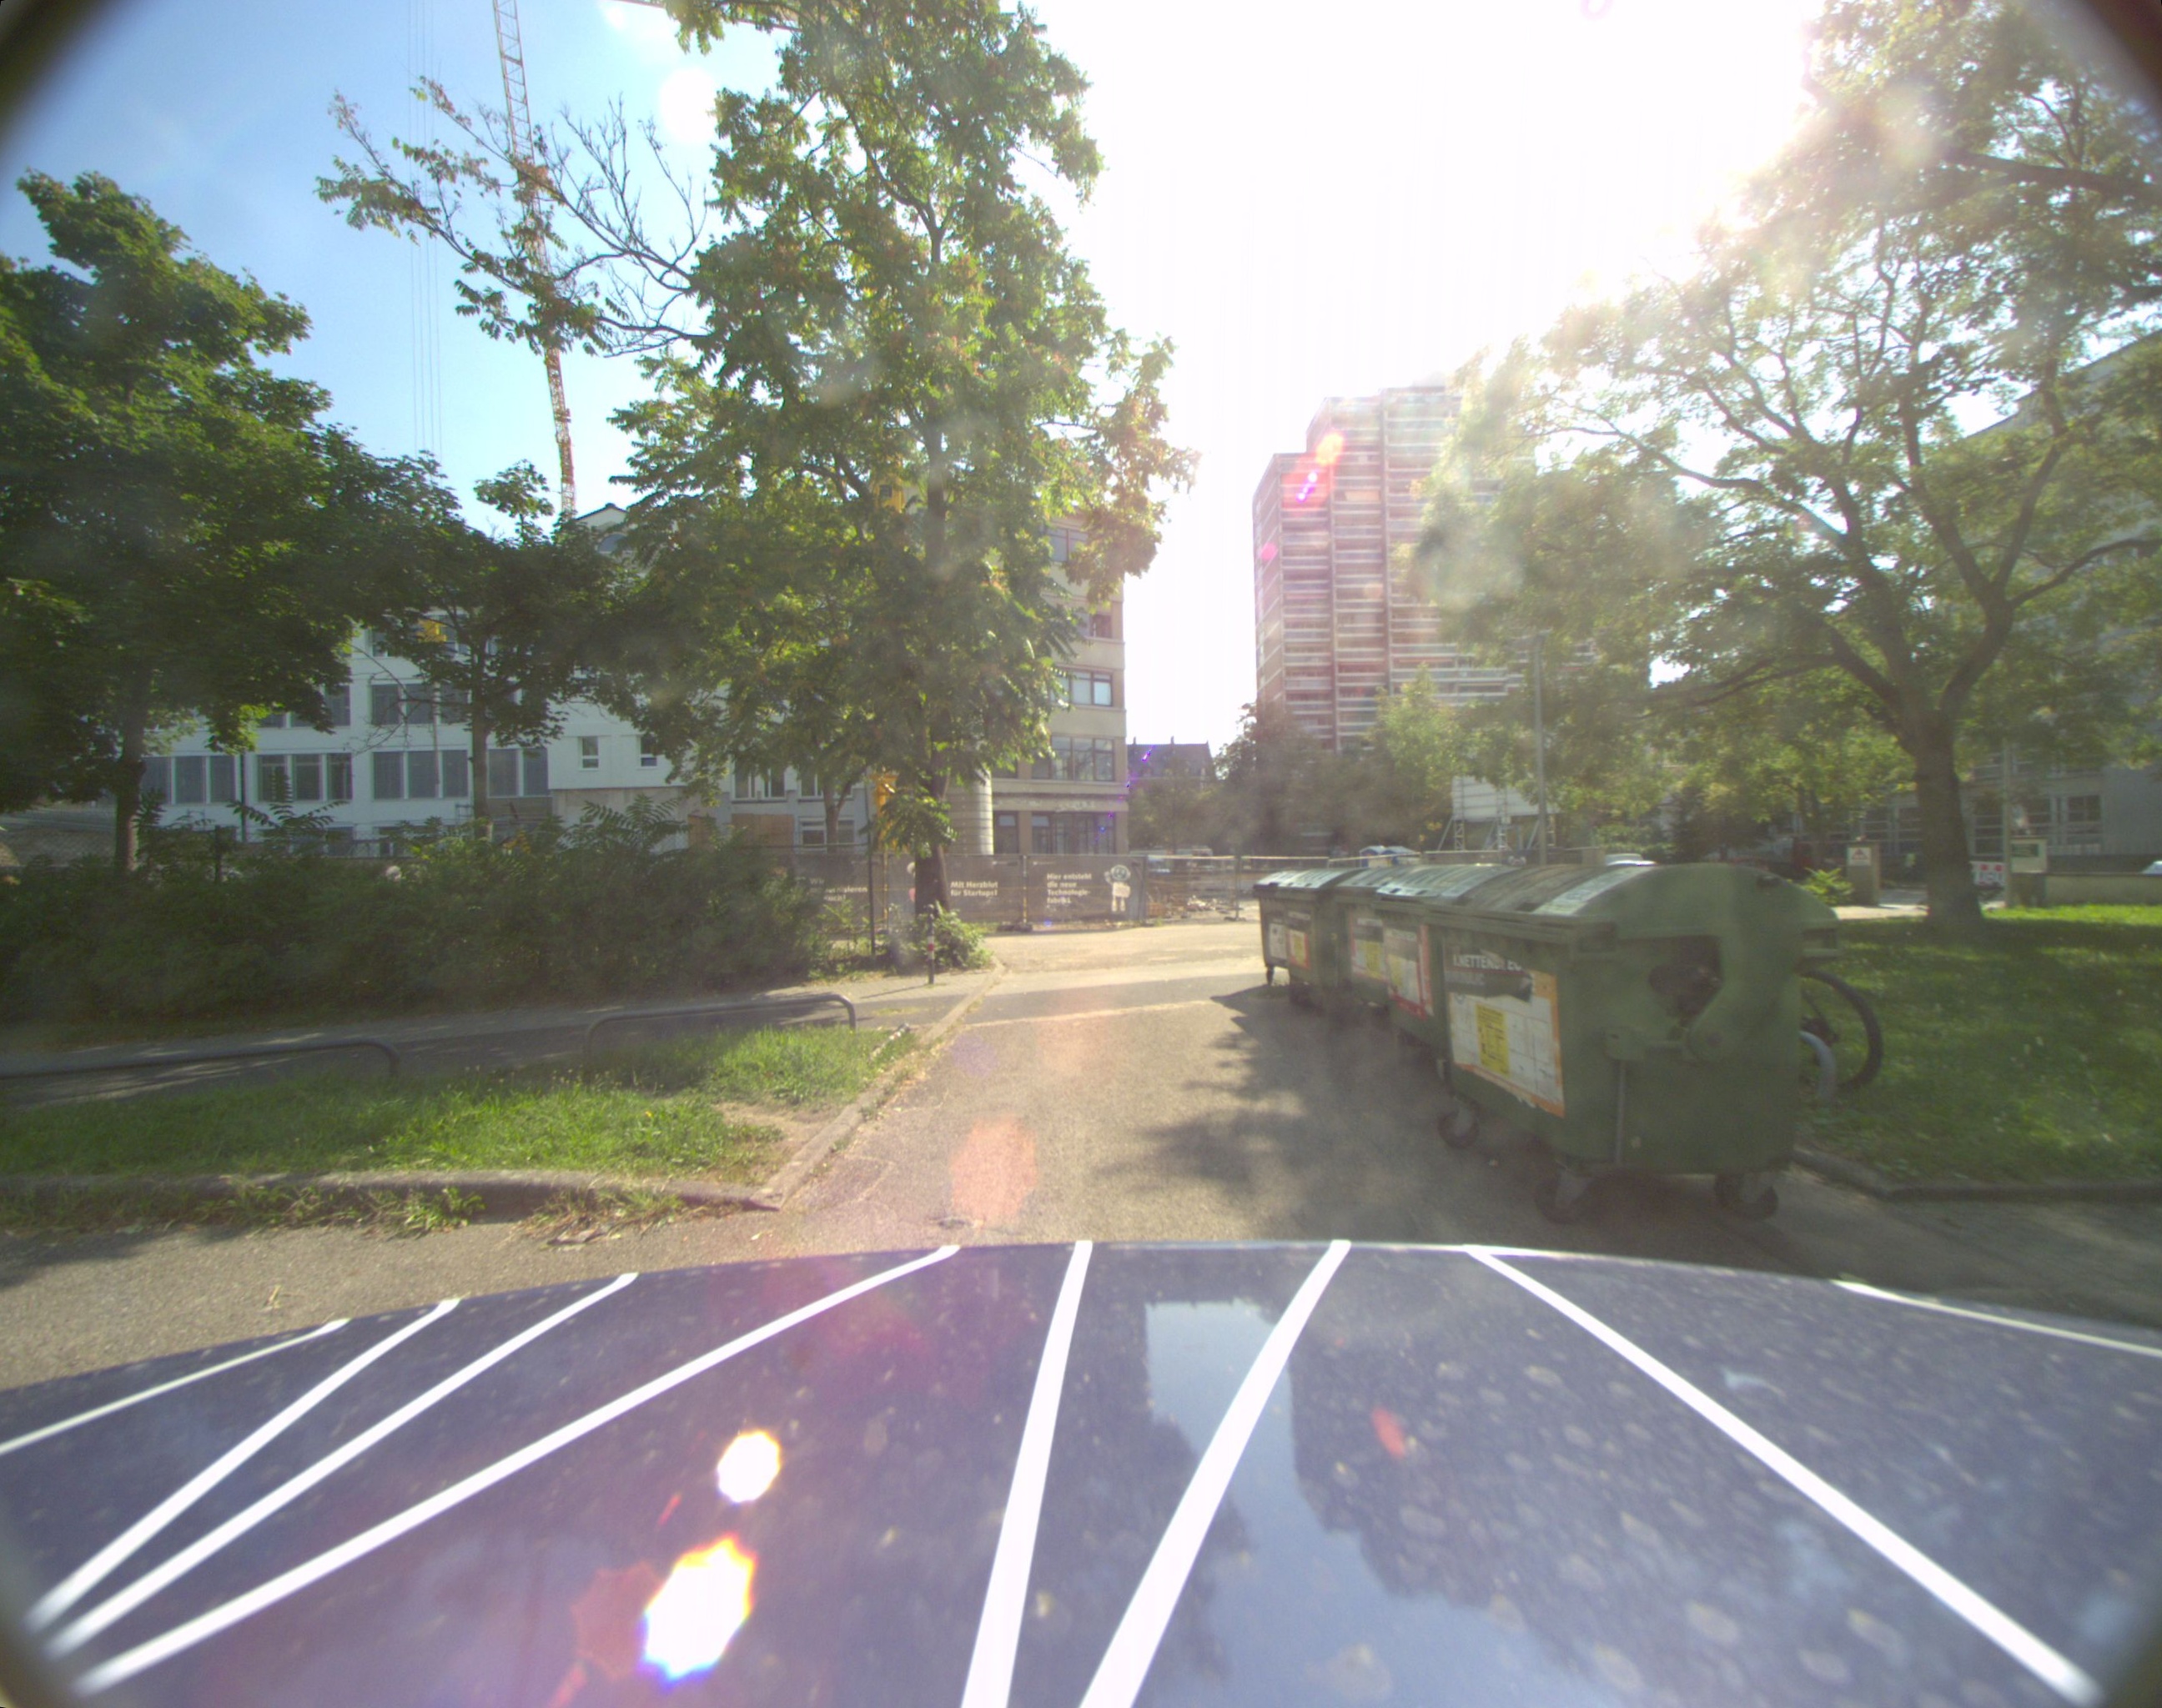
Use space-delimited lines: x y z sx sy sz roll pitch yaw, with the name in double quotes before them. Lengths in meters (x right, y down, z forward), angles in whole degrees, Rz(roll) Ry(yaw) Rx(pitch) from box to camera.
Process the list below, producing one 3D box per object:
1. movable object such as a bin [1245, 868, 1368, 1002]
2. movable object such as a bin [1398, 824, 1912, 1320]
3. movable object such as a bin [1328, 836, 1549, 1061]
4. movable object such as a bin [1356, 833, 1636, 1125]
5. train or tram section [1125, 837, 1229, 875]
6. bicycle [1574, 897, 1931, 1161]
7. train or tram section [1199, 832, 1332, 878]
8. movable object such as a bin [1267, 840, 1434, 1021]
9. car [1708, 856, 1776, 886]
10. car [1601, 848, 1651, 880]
"movable object such as a bin" 2.734 0.942 9.348 1.037 1.489 1.106 -2 1 -10
"movable object such as a bin" 2.312 0.756 3.348 1.184 1.696 1.377 -2 1 -3
"movable object such as a bin" 2.986 0.726 6.543 1.184 1.696 1.377 -2 1 -3
"movable object such as a bin" 2.671 0.739 5.141 1.183 1.696 1.395 -2 1 5
"train or tram section" 9.434 0.321 77.946 2.760 3.551 14.562 -1 0 -27
"bicycle" 4.041 0.940 4.836 0.477 1.206 2.008 -2 0 0
"train or tram section" 15.502 0.202 65.840 2.760 3.551 13.968 -1 0 -27
"movable object such as a bin" 2.751 0.727 7.946 1.184 1.696 1.377 -2 1 -3
"car" 36.518 0.926 42.103 1.861 1.534 4.007 -2 0 26
"car" 33.676 0.598 47.025 1.861 1.892 4.007 -1 0 26
